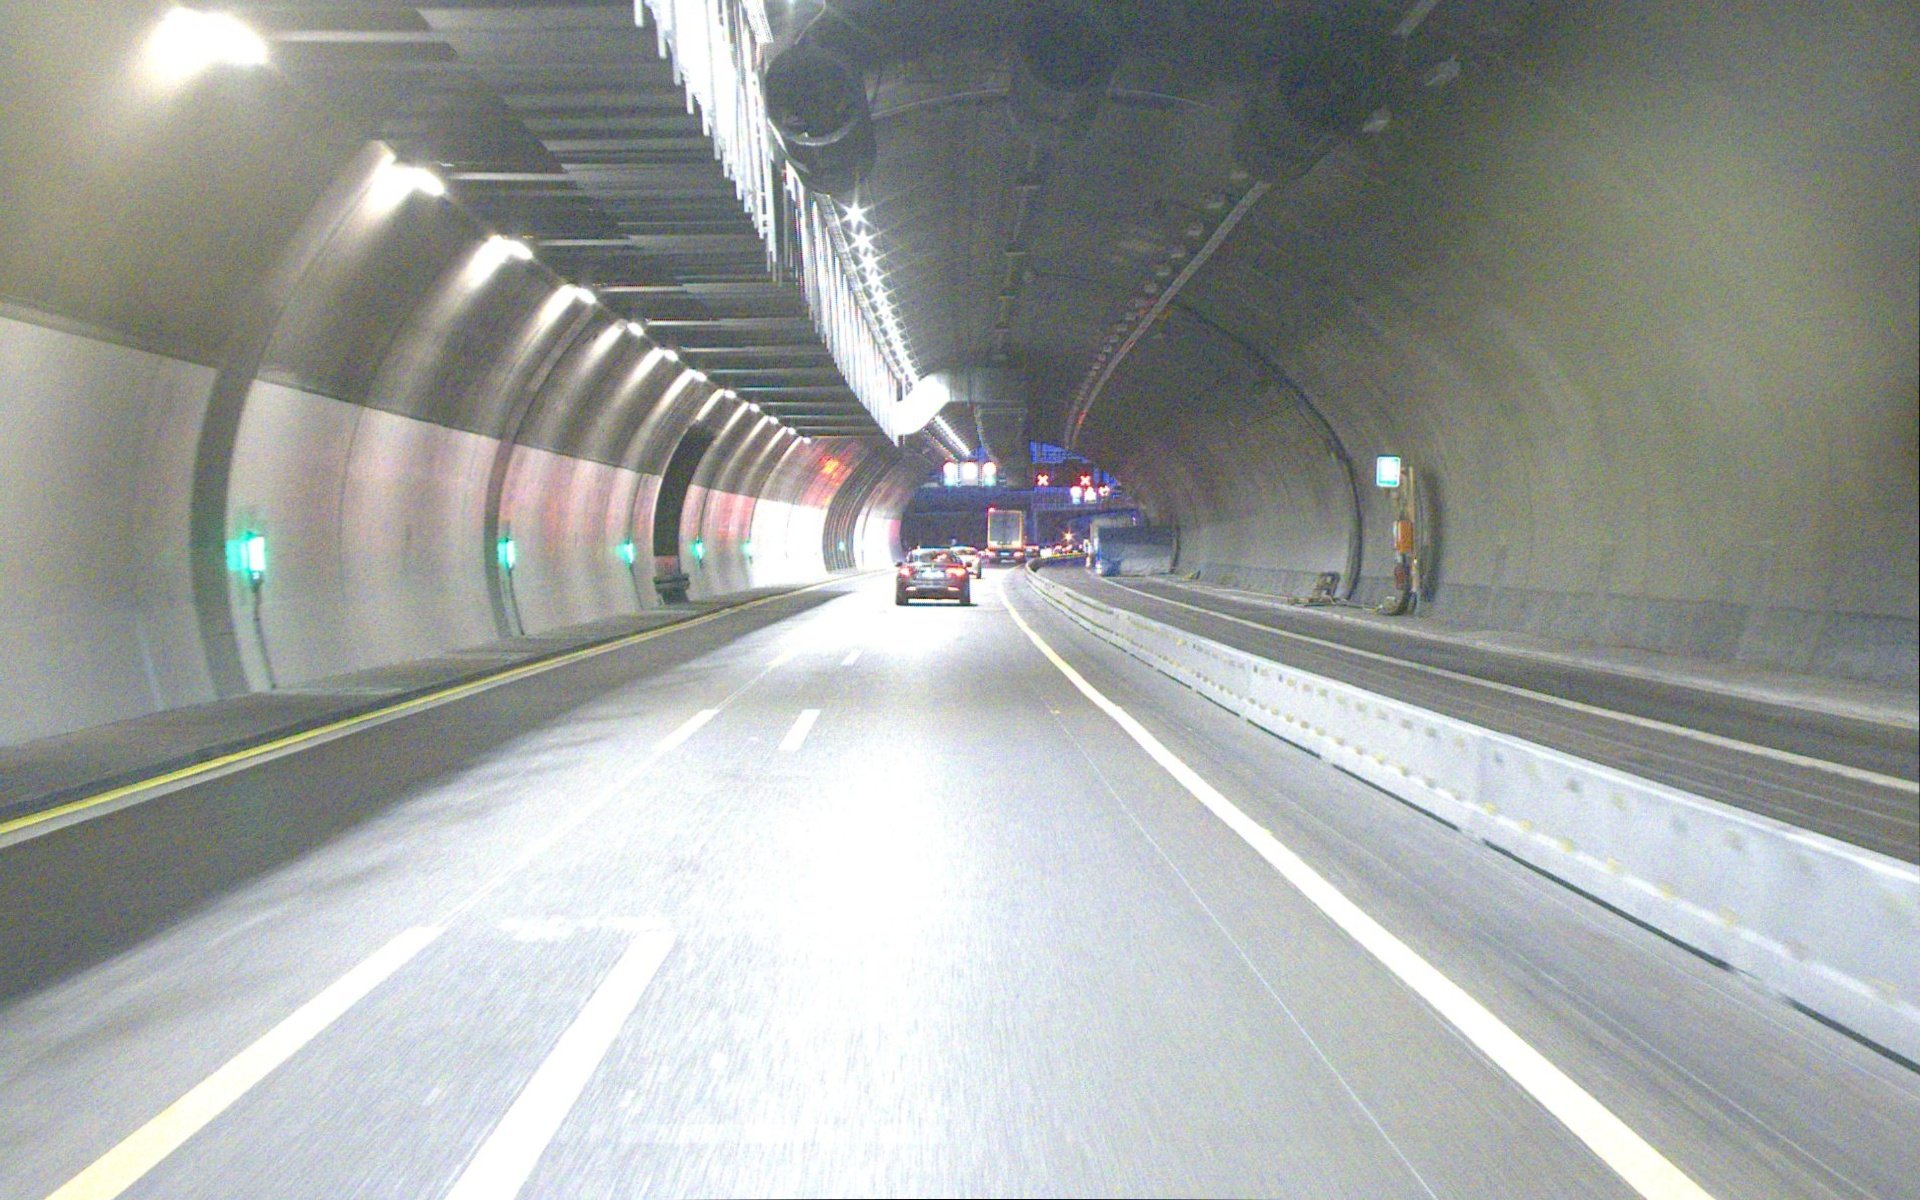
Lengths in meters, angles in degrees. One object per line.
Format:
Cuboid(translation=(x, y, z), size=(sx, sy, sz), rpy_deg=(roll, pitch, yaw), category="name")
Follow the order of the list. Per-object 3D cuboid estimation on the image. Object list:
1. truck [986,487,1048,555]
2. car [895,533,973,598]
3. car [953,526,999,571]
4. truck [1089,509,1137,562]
Cuboid(translation=(4.309, -5.872, 258.162), size=(4.546, 4.970, 9.599), rpy_deg=(0, 1, 1), category="truck")
Cuboid(translation=(-0.681, -0.882, 87.180), size=(1.887, 1.601, 4.000), rpy_deg=(0, 1, -1), category="car")
Cuboid(translation=(0.690, -2.320, 154.126), size=(1.993, 2.007, 4.000), rpy_deg=(0, 1, -1), category="car")
Cuboid(translation=(9.671, -4.051, 217.756), size=(2.892, 3.261, 8.401), rpy_deg=(0, 1, 2), category="truck")
